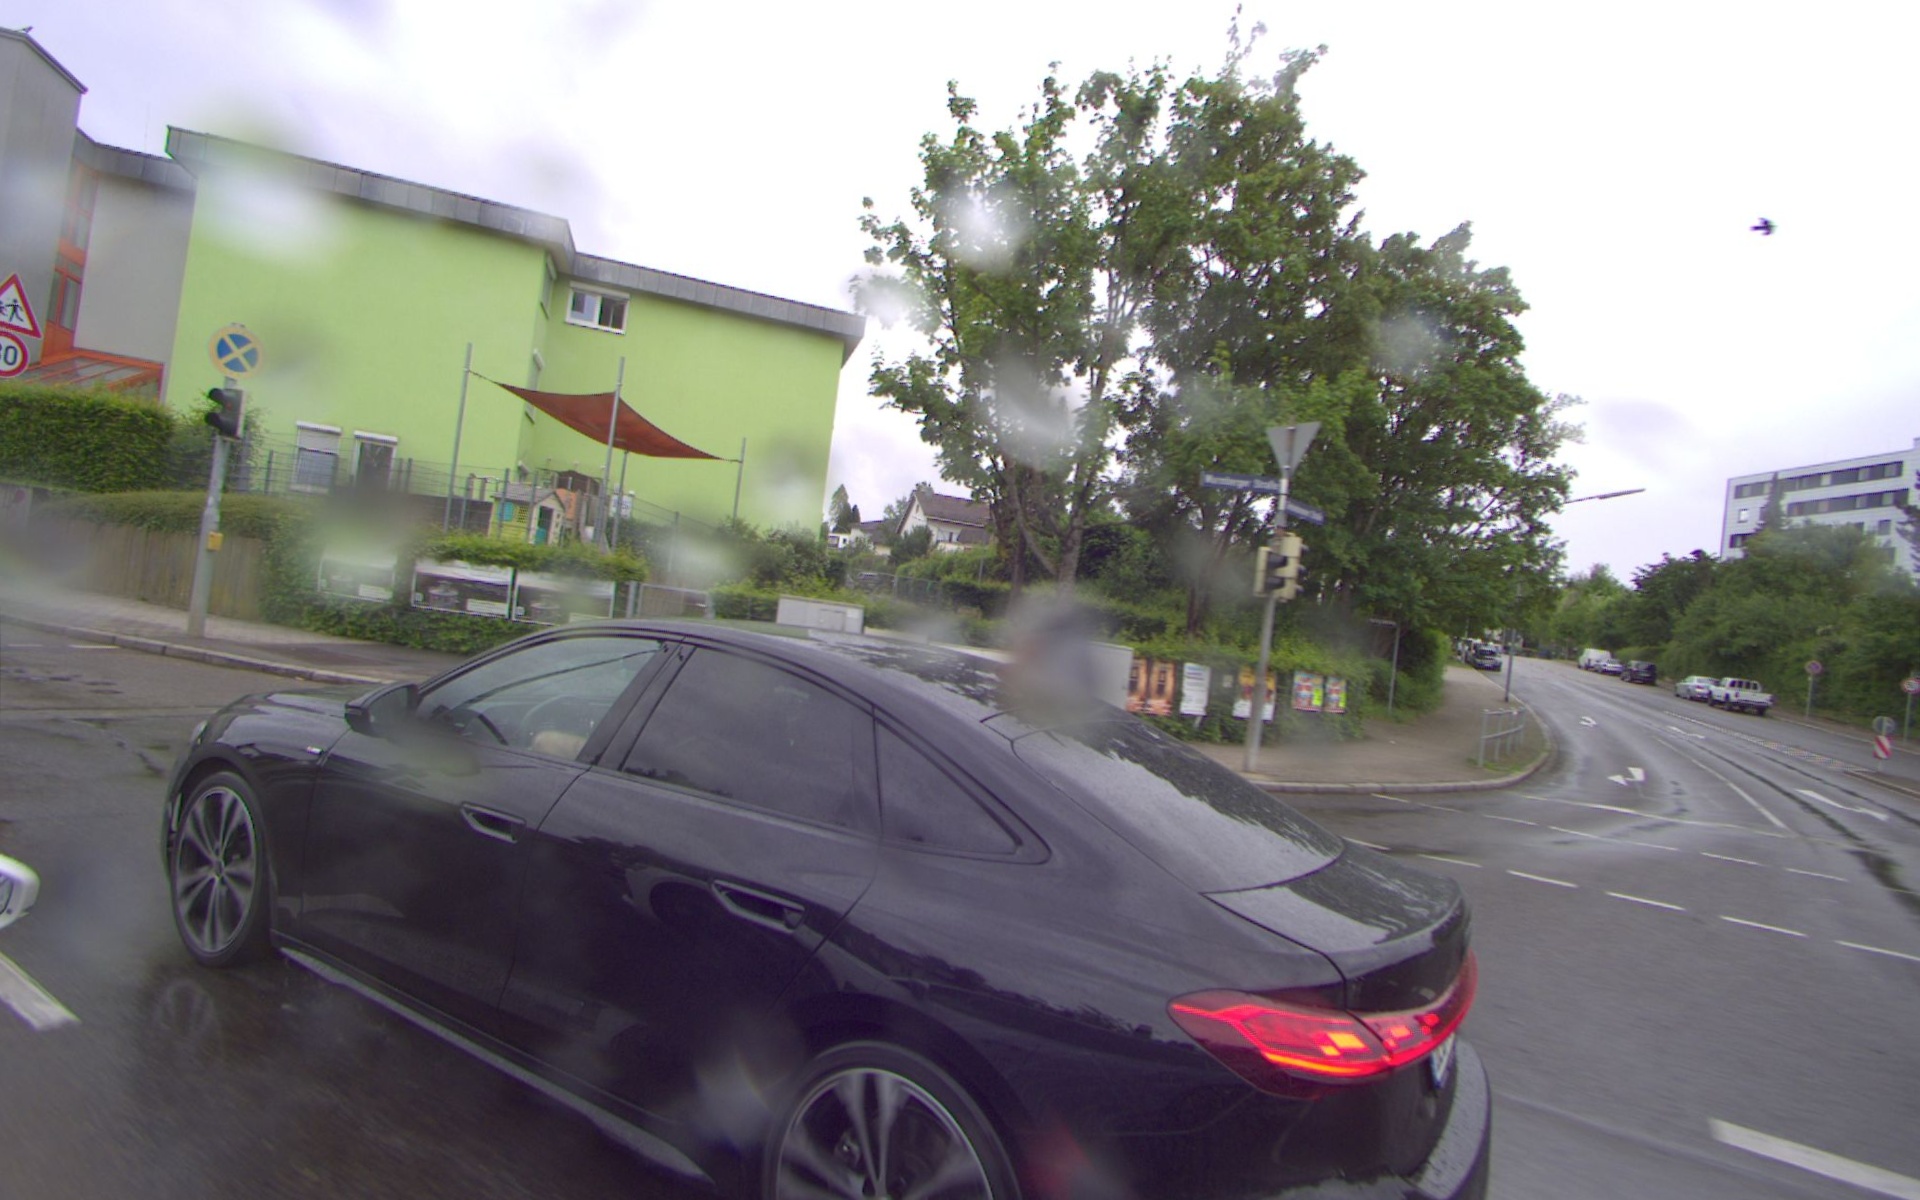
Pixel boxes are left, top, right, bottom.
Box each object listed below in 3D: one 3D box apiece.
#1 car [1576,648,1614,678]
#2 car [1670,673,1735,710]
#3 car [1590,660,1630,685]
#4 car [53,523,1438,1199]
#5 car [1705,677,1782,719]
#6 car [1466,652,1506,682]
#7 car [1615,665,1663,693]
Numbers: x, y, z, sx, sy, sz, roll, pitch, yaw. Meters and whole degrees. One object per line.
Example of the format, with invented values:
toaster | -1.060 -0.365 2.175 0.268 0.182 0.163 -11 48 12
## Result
car | 57.875 5.743 91.770 1.963 2.417 4.000 6 -1 20
car | 44.752 5.487 60.709 1.963 1.828 4.000 6 -1 20
car | 55.940 6.238 86.651 1.963 1.828 4.000 6 -1 20
car | -1.014 0.691 3.567 4.660 1.441 1.870 5 -2 31
car | 42.204 5.240 54.308 1.963 1.900 4.211 6 -1 20
car | 39.099 4.993 74.888 1.963 1.964 4.000 6 -1 20
car | 51.293 5.967 76.106 1.963 1.828 4.000 6 -1 20
